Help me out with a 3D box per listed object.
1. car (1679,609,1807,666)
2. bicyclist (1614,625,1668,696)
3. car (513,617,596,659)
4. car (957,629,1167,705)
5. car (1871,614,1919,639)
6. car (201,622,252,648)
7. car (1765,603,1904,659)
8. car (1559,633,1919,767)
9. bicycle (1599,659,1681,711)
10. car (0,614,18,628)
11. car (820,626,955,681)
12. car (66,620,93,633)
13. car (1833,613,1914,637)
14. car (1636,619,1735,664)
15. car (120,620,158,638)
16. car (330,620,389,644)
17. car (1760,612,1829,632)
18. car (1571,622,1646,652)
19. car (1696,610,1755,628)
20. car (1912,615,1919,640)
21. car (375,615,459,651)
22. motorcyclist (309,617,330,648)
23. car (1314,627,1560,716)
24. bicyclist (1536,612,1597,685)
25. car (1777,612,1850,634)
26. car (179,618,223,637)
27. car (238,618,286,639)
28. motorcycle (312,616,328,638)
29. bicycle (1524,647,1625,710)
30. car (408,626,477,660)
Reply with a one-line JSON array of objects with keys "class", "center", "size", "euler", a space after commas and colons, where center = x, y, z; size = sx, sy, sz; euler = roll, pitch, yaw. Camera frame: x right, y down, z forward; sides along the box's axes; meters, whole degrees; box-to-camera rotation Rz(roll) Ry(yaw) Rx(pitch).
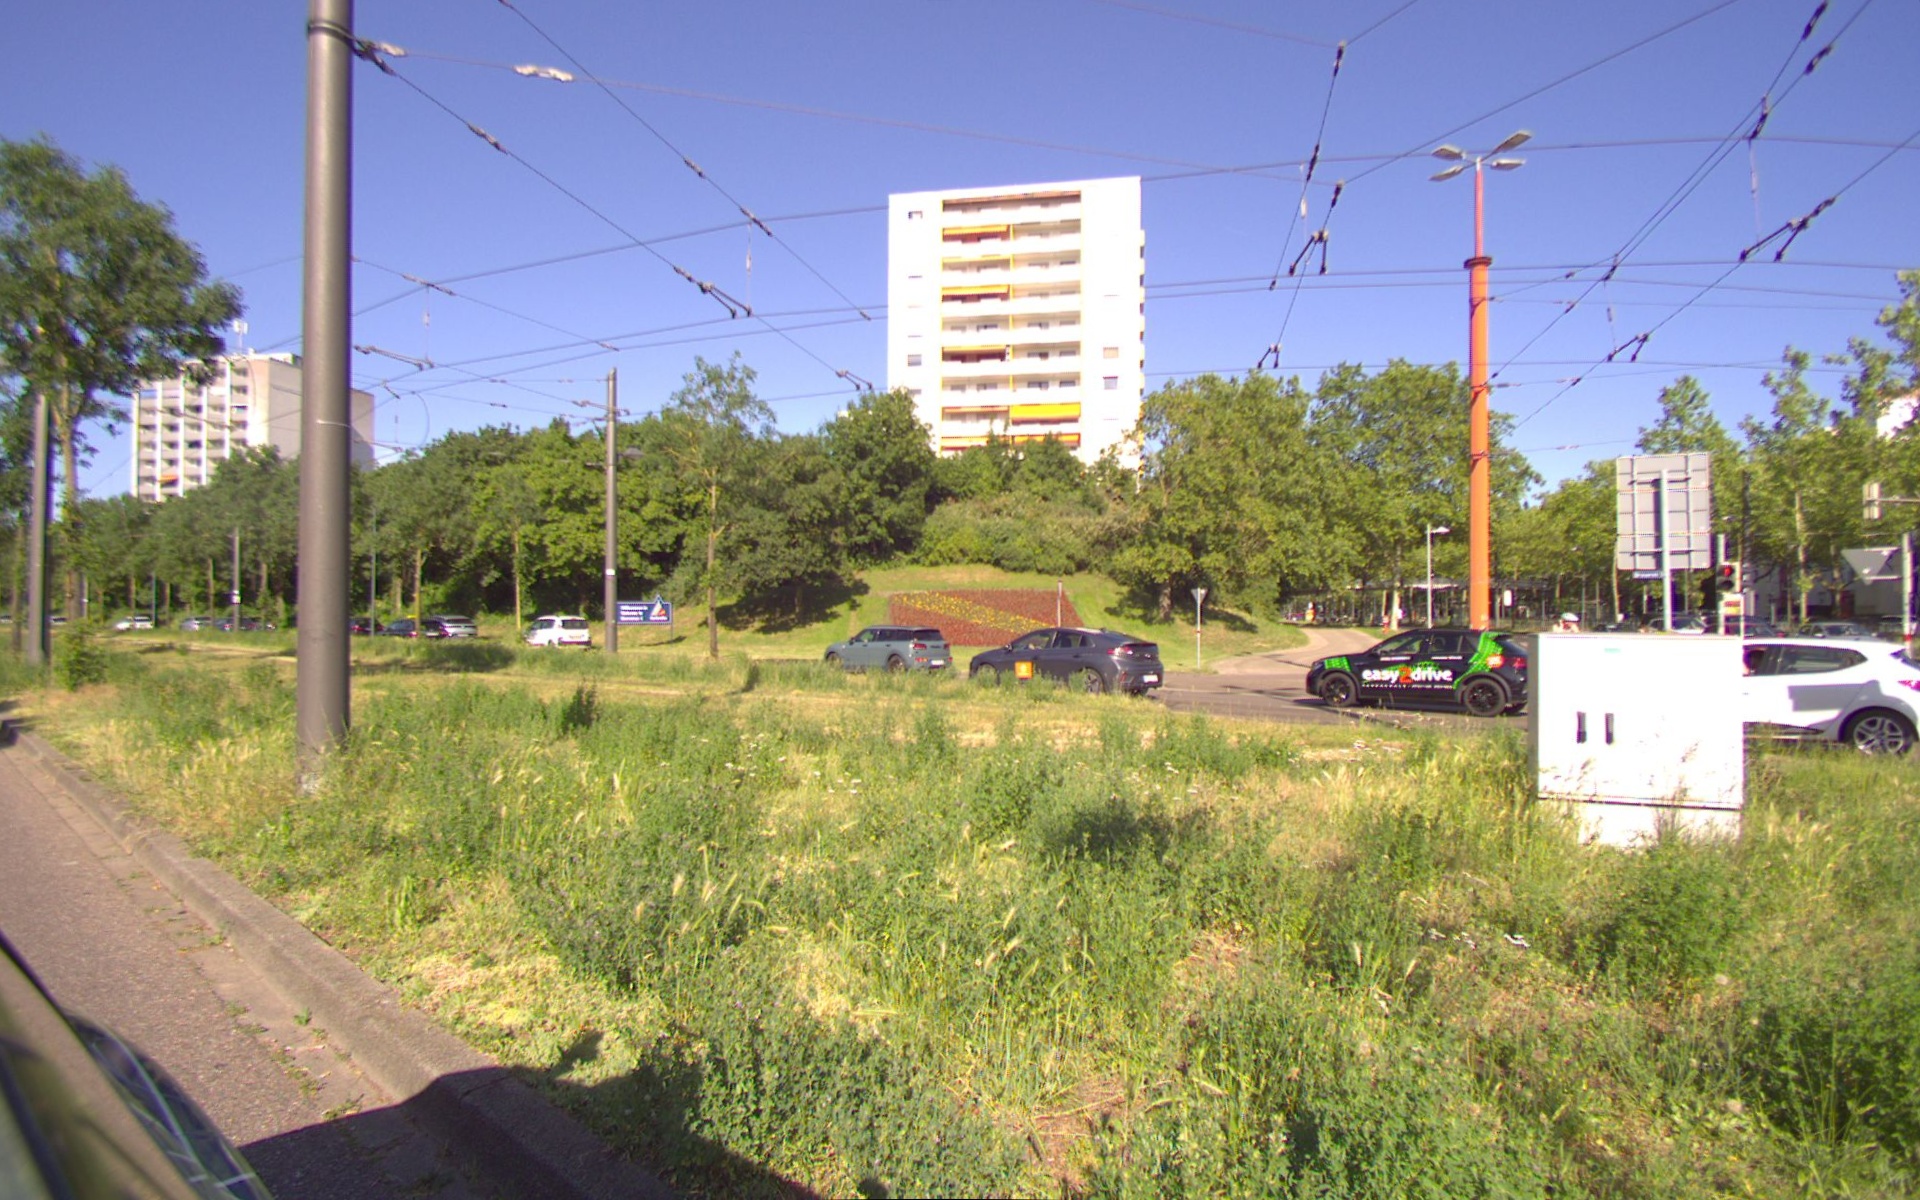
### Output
[{"class": "car", "center": [28.658, 1.325, 37.227], "size": [1.979, 1.915, 4.259], "euler": [-1, 0, 11]}, {"class": "bicyclist", "center": [13.294, 1.174, 19.773], "size": [0.540, 1.333, 0.701], "euler": [0, 0, -5]}, {"class": "car", "center": [-17.603, 1.616, 43.829], "size": [4.060, 1.720, 1.781], "euler": [-1, -2, 43]}, {"class": "car", "center": [2.027, 1.309, 20.941], "size": [4.261, 1.388, 1.531], "euler": [-1, -2, 42]}, {"class": "car", "center": [64.804, 1.774, 68.734], "size": [1.864, 1.608, 4.010], "euler": [0, 0, -34]}, {"class": "car", "center": [-47.445, 2.260, 65.432], "size": [4.465, 1.606, 1.971], "euler": [-1, -2, 44]}, {"class": "car", "center": [31.940, 1.072, 37.132], "size": [1.979, 1.915, 4.259], "euler": [-1, 0, 11]}, {"class": "car", "center": [10.142, 1.178, 13.030], "size": [3.949, 1.470, 1.588], "euler": [-1, -2, 42]}, {"class": "bicycle", "center": [13.302, 1.649, 19.844], "size": [0.362, 0.889, 1.628], "euler": [0, 0, -7]}, {"class": "car", "center": [-107.859, 2.374, 114.417], "size": [3.757, 1.620, 1.744], "euler": [-1, -2, 42]}, {"class": "car", "center": [-2.129, 1.464, 28.838], "size": [4.141, 1.398, 1.414], "euler": [-1, 0, 44]}, {"class": "car", "center": [-91.792, 2.782, 105.477], "size": [4.177, 1.307, 1.639], "euler": [-2, -2, 43]}, {"class": "car", "center": [65.514, 1.780, 72.634], "size": [1.864, 1.608, 4.010], "euler": [0, 0, -34]}, {"class": "car", "center": [30.681, 1.727, 42.942], "size": [1.893, 1.763, 3.985], "euler": [-1, 0, 11]}, {"class": "car", "center": [-66.820, 2.313, 82.338], "size": [4.642, 1.433, 1.685], "euler": [-1, -2, 42]}, {"class": "car", "center": [-35.128, 1.847, 59.152], "size": [4.030, 1.352, 1.841], "euler": [-1, -2, 42]}, {"class": "car", "center": [68.277, 1.786, 82.853], "size": [1.864, 1.608, 4.010], "euler": [0, 0, -34]}, {"class": "car", "center": [31.645, 1.773, 49.517], "size": [1.718, 1.332, 3.985], "euler": [-1, 0, 11]}, {"class": "car", "center": [71.634, 1.792, 94.722], "size": [1.864, 1.608, 4.010], "euler": [0, 0, -34]}, {"class": "car", "center": [64.123, 1.769, 65.028], "size": [1.864, 1.608, 4.010], "euler": [0, 0, -34]}, {"class": "car", "center": [-24.578, 1.461, 45.725], "size": [4.603, 1.496, 1.856], "euler": [-1, 0, 41]}, {"class": "motorcyclist", "center": [-34.074, 1.706, 53.830], "size": [0.825, 1.611, 0.641], "euler": [0, 0, -41]}, {"class": "car", "center": [8.816, 1.263, 18.896], "size": [3.886, 1.444, 1.527], "euler": [-1, -2, 43]}, {"class": "bicyclist", "center": [12.249, 0.966, 20.450], "size": [0.741, 1.441, 0.757], "euler": [-1, 0, -2]}, {"class": "car", "center": [67.051, 1.787, 79.528], "size": [1.864, 1.608, 4.010], "euler": [0, 0, -34]}, {"class": "car", "center": [-62.299, 2.249, 83.020], "size": [4.693, 1.443, 1.972], "euler": [-1, -2, 42]}, {"class": "car", "center": [-50.565, 2.045, 73.252], "size": [4.400, 1.384, 1.972], "euler": [-1, 0, 43]}, {"class": "motorcycle", "center": [-34.100, 1.435, 53.909], "size": [0.416, 1.140, 2.098], "euler": [0, 0, -41]}, {"class": "bicycle", "center": [12.283, 1.534, 20.310], "size": [0.467, 1.089, 2.362], "euler": [-1, 0, -3]}, {"class": "car", "center": [-26.277, 2.149, 51.323], "size": [4.439, 1.613, 1.817], "euler": [-1, -2, 44]}]
